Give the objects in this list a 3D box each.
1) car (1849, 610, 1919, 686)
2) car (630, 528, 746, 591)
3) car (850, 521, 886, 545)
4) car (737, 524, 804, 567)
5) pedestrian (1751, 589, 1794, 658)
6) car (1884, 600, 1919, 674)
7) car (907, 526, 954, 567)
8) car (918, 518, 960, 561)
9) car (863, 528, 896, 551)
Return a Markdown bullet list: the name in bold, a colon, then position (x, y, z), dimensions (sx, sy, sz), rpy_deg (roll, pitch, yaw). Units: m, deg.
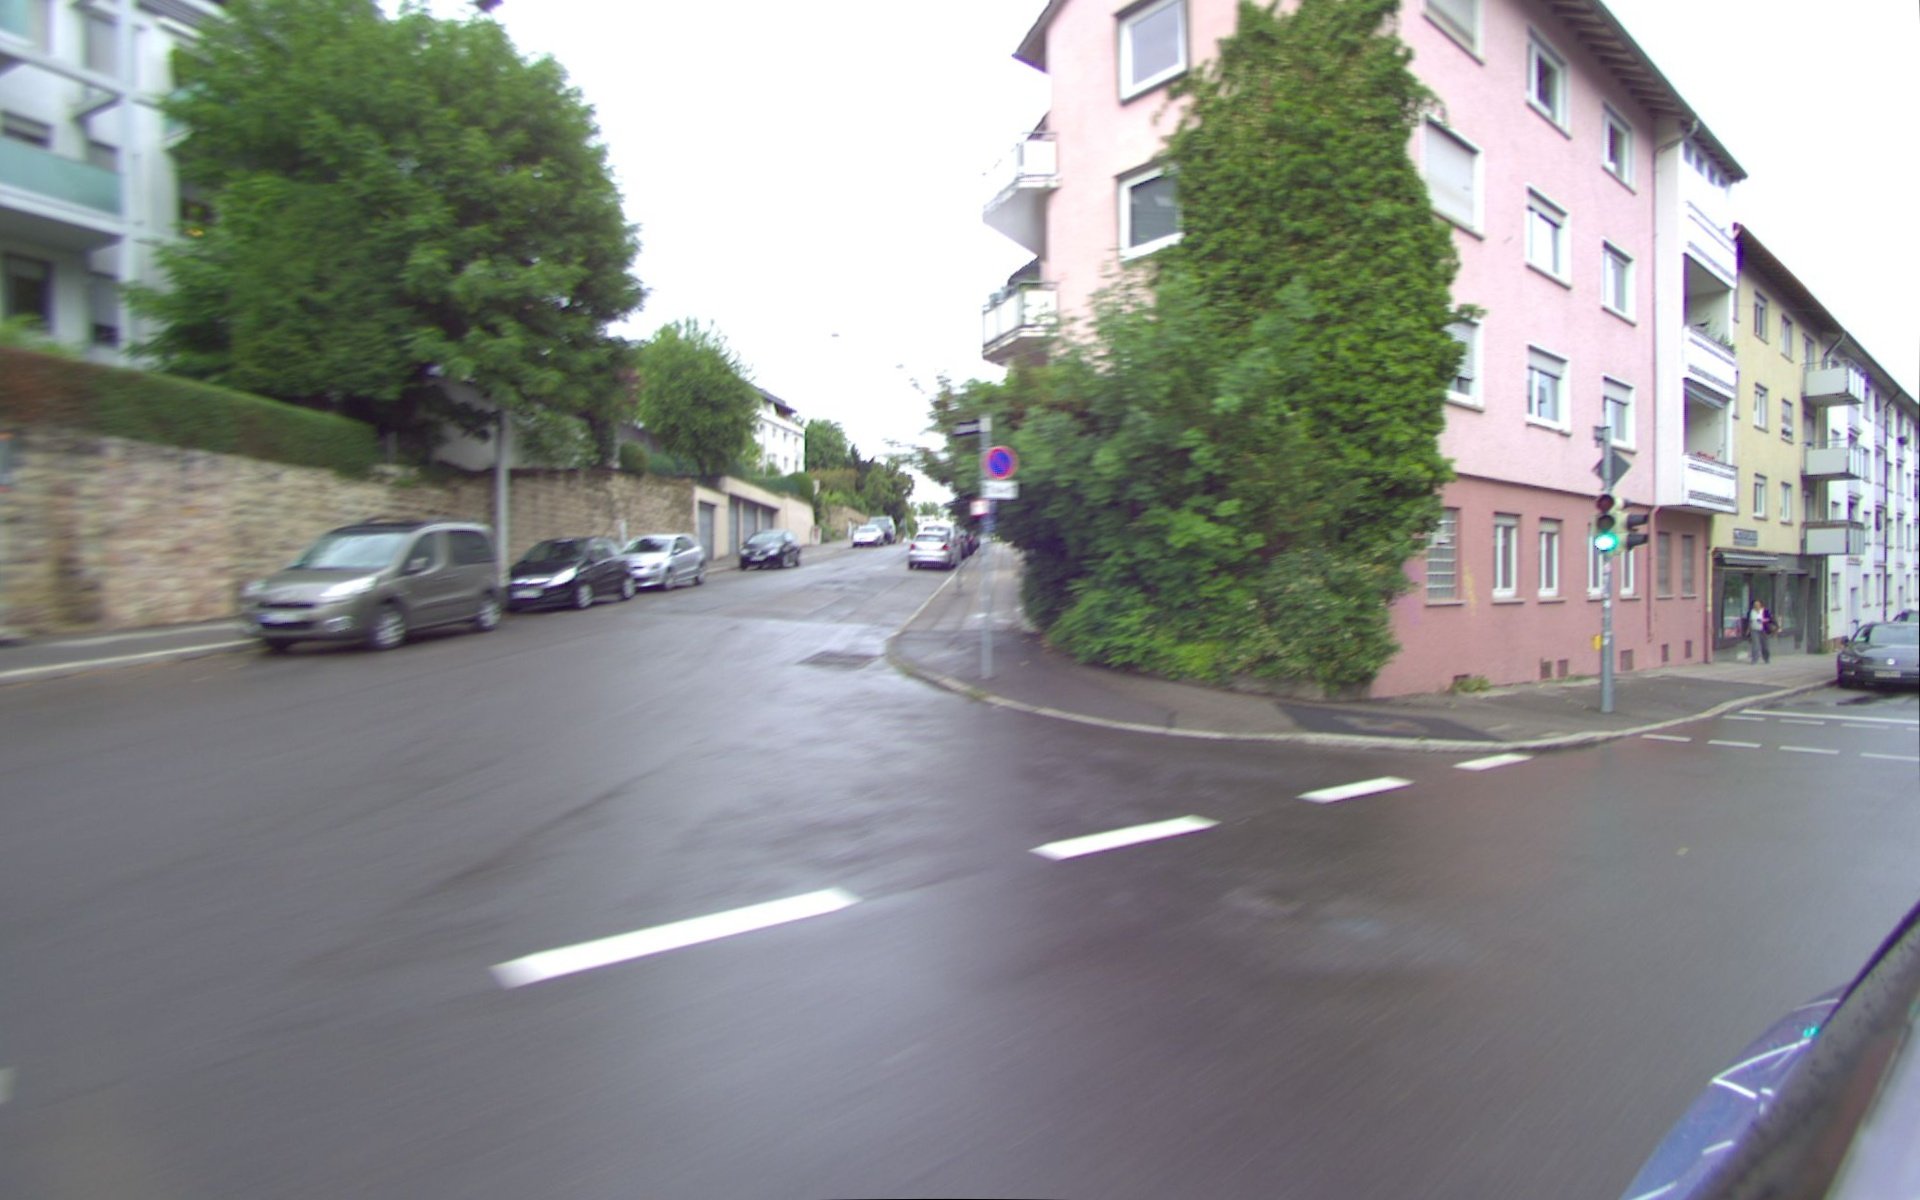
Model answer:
- **car**: position (21.141, 1.009, 22.292), dimensions (4.433, 1.539, 1.795), rpy_deg (1, 0, -41)
- **car**: position (-7.407, -1.174, 28.014), dimensions (1.654, 1.470, 4.337), rpy_deg (-1, 6, 6)
- **car**: position (-6.006, -4.399, 66.545), dimensions (1.654, 1.471, 3.844), rpy_deg (-1, 4, 5)
- **car**: position (-7.209, -2.132, 38.847), dimensions (1.652, 1.471, 4.341), rpy_deg (-1, 4, 1)
- **pedestrian**: position (21.887, 0.632, 27.250), dimensions (0.735, 1.795, 0.715), rpy_deg (1, 2, -41)
- **car**: position (25.270, 0.931, 25.863), dimensions (4.433, 1.796, 1.966), rpy_deg (1, 0, -41)
- **car**: position (-1.115, -2.146, 39.829), dimensions (1.652, 1.471, 3.919), rpy_deg (1, 4, 1)
- **car**: position (-0.891, -2.706, 44.609), dimensions (1.652, 1.787, 3.919), rpy_deg (1, 4, 1)
- **car**: position (-5.599, -4.241, 71.035), dimensions (1.654, 1.471, 3.844), rpy_deg (-1, 4, 5)
